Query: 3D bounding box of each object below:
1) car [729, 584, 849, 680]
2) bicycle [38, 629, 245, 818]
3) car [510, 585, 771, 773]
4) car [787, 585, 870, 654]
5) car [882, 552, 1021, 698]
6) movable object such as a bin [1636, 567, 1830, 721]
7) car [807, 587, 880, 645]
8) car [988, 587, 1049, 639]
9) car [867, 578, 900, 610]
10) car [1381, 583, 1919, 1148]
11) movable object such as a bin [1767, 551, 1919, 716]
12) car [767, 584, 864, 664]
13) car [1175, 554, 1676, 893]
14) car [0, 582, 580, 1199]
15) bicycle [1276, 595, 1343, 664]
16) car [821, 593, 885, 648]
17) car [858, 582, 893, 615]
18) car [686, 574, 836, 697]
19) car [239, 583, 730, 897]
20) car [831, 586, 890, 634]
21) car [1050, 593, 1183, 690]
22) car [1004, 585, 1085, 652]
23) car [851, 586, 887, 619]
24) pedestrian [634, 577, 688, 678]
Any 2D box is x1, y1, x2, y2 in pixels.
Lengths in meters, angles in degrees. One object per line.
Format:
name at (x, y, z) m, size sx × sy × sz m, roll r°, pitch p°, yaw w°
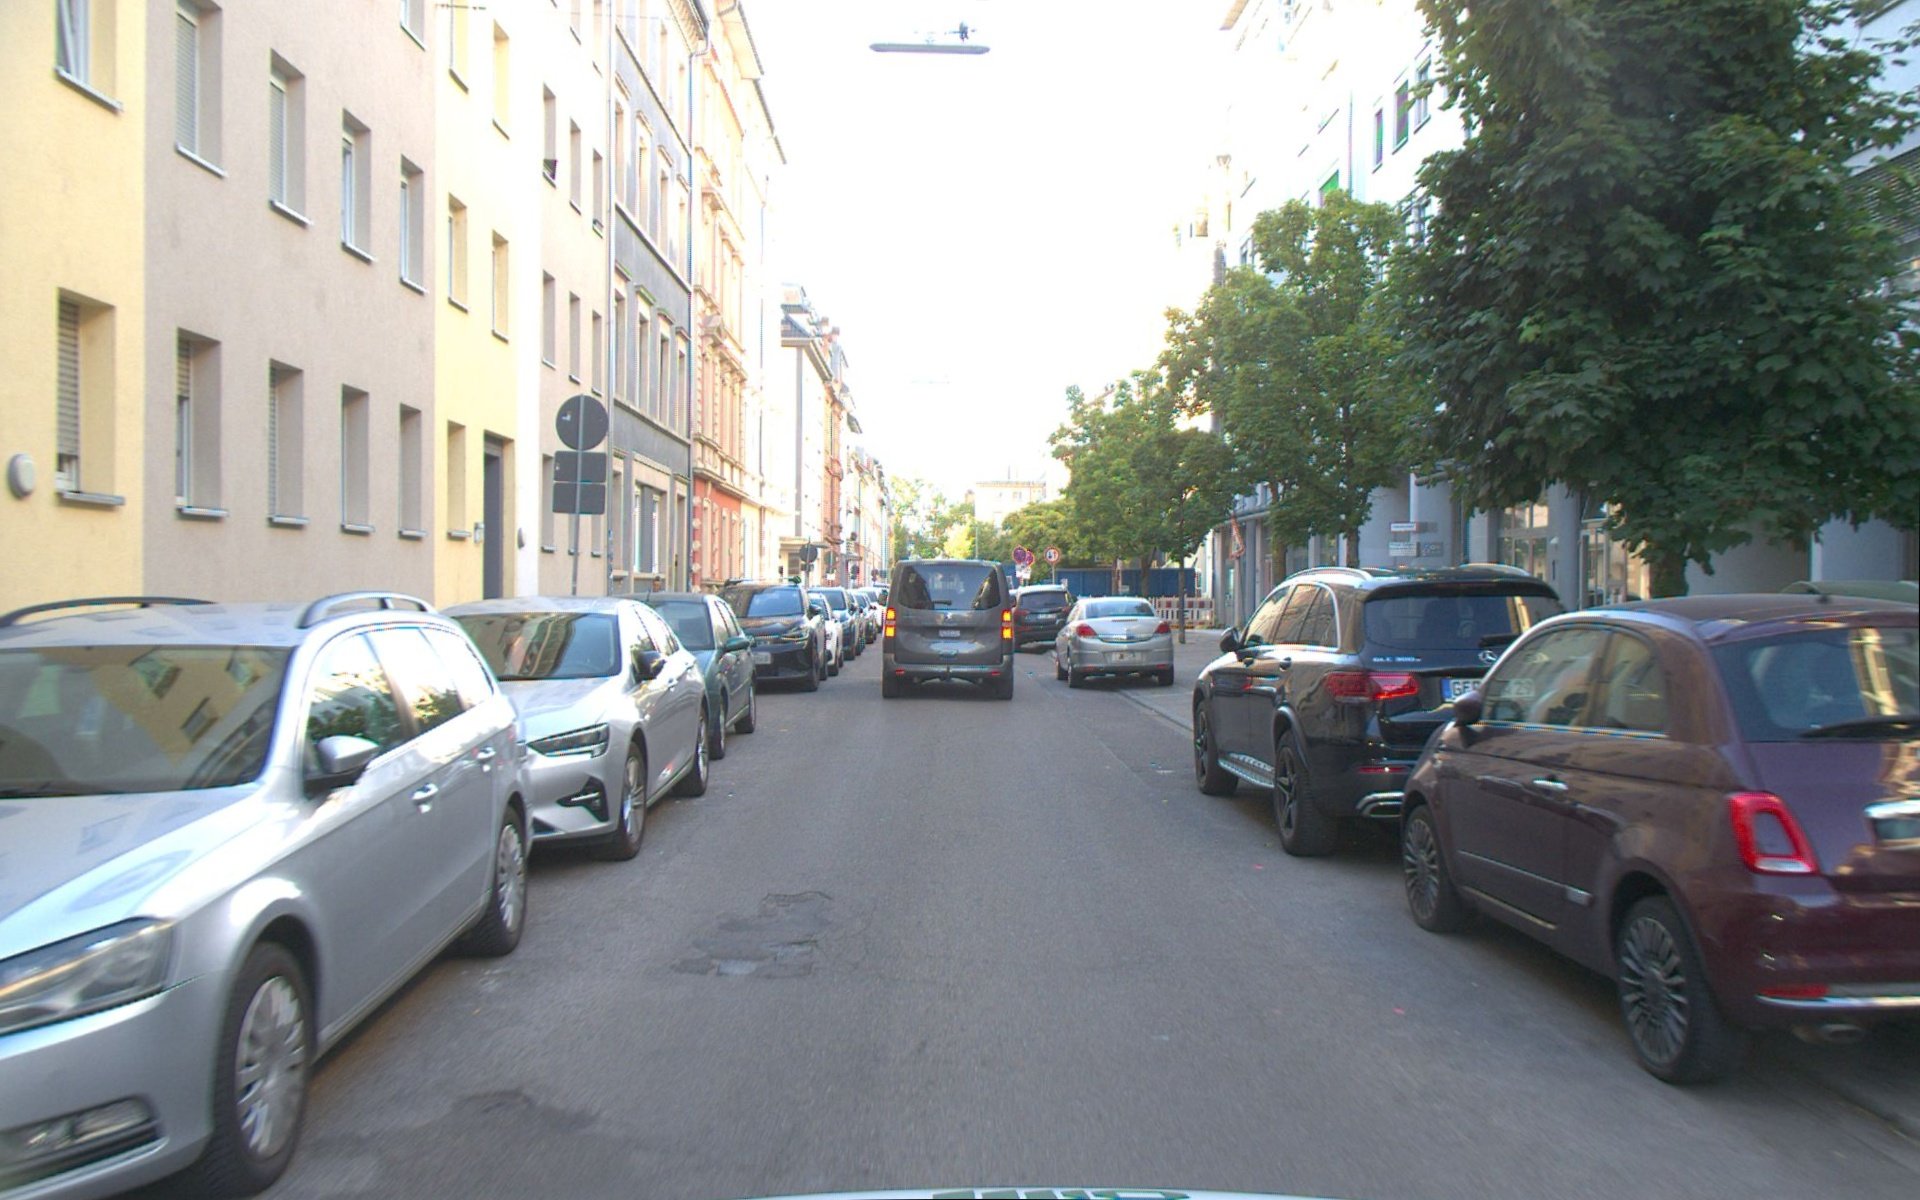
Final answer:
car at (-3.108, 0.528, 30.871) m, size 1.882 × 1.587 × 4.265 m, roll -2°, pitch 1°, yaw -2°
bicycle at (-5.816, 0.829, 11.879) m, size 0.598 × 1.189 × 1.923 m, roll -1°, pitch 0°, yaw -3°
car at (-2.921, 0.647, 16.039) m, size 1.743 × 1.514 × 4.419 m, roll -2°, pitch 0°, yaw -2°
car at (-3.316, 0.465, 42.316) m, size 1.863 × 1.587 × 4.239 m, roll -2°, pitch 1°, yaw -2°
car at (-0.149, 0.338, 24.179) m, size 1.827 × 1.919 × 4.234 m, roll 1°, pitch 0°, yaw -1°
movable object such as a bin at (7.120, 0.389, 15.298) m, size 1.236 × 1.344 × 1.139 m, roll -1°, pitch 0°, yaw -1°
car at (-3.323, 0.431, 47.790) m, size 1.882 × 1.509 × 4.265 m, roll -2°, pitch 1°, yaw -2°
car at (1.861, 0.390, 53.251) m, size 1.643 × 1.551 × 3.969 m, roll -2°, pitch 0°, yaw -2°
car at (-4.986, -0.351, 107.115) m, size 1.855 × 1.878 × 4.345 m, roll 5°, pitch -1°, yaw -4°
car at (2.949, 0.712, 6.369) m, size 1.642 × 1.509 × 3.651 m, roll -2°, pitch 0°, yaw -1°
movable object such as a bin at (8.394, 0.289, 15.345) m, size 1.236 × 1.461 × 1.139 m, roll -1°, pitch 0°, yaw -1°
car at (-3.162, 0.490, 36.974) m, size 1.882 × 1.587 × 4.265 m, roll -2°, pitch 1°, yaw -2°
car at (2.675, 0.612, 10.757) m, size 1.833 × 1.664 × 4.722 m, roll -2°, pitch 0°, yaw -1°
car at (-2.656, 0.737, 5.471) m, size 1.884 × 1.514 × 4.615 m, roll -2°, pitch 0°, yaw -3°
bicycle at (6.252, 0.517, 29.663) m, size 0.510 × 1.189 × 1.735 m, roll -1°, pitch 0°, yaw -11°
car at (-3.403, 0.611, 53.213) m, size 1.882 × 1.587 × 4.265 m, roll -2°, pitch 1°, yaw -2°
car at (-4.991, -0.061, 97.743) m, size 1.855 × 1.749 × 3.750 m, roll 5°, pitch -1°, yaw -4°
car at (-3.014, 0.477, 25.874) m, size 1.882 × 1.692 × 4.467 m, roll -2°, pitch 1°, yaw -2°
car at (-2.694, 0.684, 10.581) m, size 1.884 × 1.514 × 4.616 m, roll -2°, pitch 0°, yaw -2°
car at (-3.481, 0.333, 58.611) m, size 1.882 × 1.533 × 4.266 m, roll -2°, pitch 1°, yaw -1°
car at (2.539, 0.627, 27.703) m, size 1.727 × 1.454 × 4.344 m, roll -2°, pitch 0°, yaw -1°
car at (2.195, 0.449, 44.095) m, size 1.847 × 1.651 × 4.433 m, roll -2°, pitch 0°, yaw -1°
car at (-4.511, 0.133, 81.684) m, size 1.624 × 1.485 × 3.415 m, roll 5°, pitch -1°, yaw -4°
pedestrian at (-5.511, 0.492, 30.542) m, size 0.773 × 1.821 × 1.092 m, roll -1°, pitch 0°, yaw -1°
